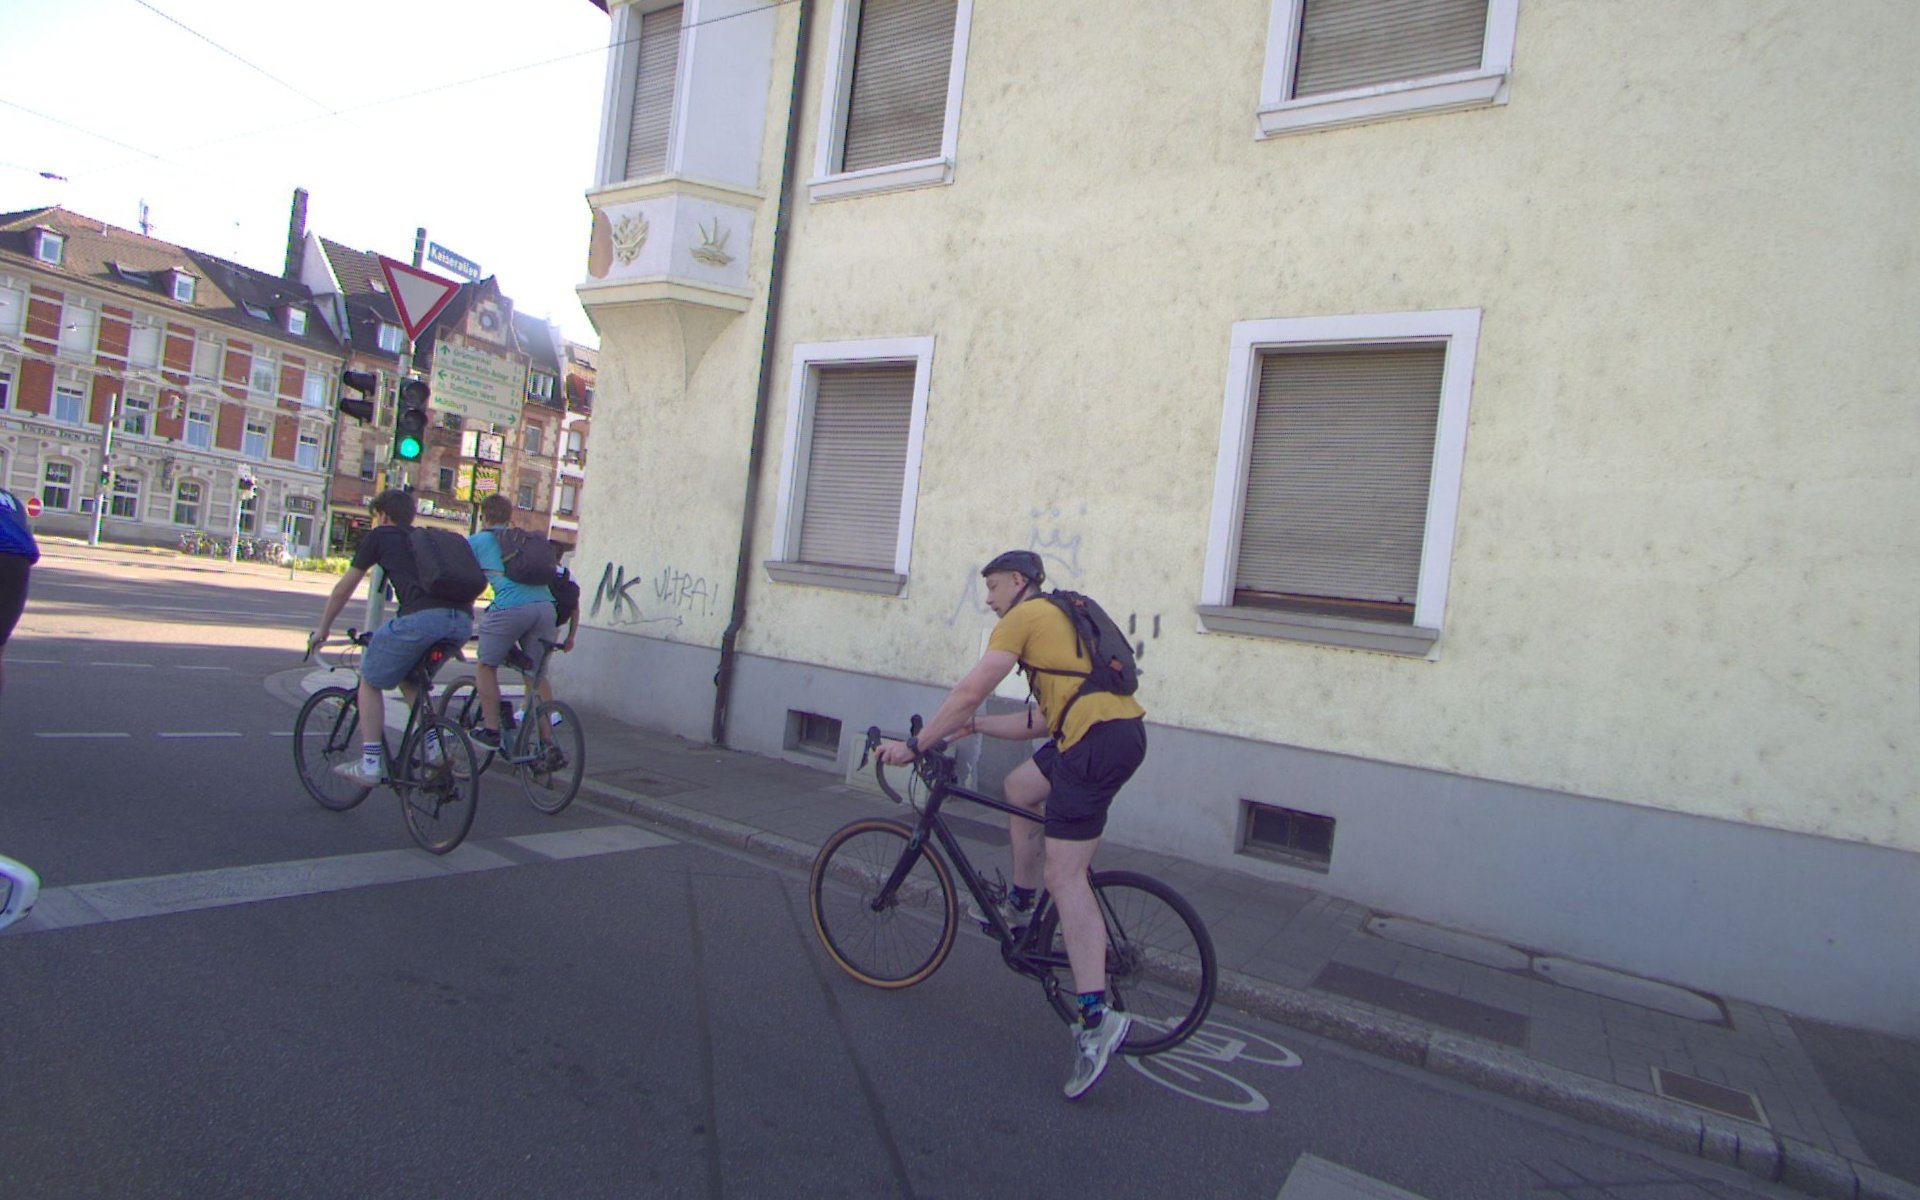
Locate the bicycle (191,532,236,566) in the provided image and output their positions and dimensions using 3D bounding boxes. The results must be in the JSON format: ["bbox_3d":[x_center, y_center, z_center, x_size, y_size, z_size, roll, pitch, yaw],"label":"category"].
[{"bbox_3d":[-34.193,-2.361,46.068,2.618,1.301,0.693,6,-1,33],"label":"bicycle"}]

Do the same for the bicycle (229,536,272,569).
[{"bbox_3d":[-33.408,-2.227,47.365,2.618,1.301,0.629,6,-1,33],"label":"bicycle"}]

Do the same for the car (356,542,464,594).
[{"bbox_3d":[-25.512,-1.471,46.810,1.967,1.798,3.790,6,-2,31],"label":"car"}]

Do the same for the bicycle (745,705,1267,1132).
[{"bbox_3d":[0.138,1.052,3.846,1.751,1.043,0.756,6,-2,33],"label":"bicycle"}]

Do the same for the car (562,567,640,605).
[{"bbox_3d":[-23.236,-0.875,65.288,1.967,1.798,4.374,6,-2,31],"label":"car"}]

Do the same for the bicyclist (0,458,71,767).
[{"bbox_3d":[-5.109,0.006,5.055,0.869,1.512,0.639,9,0,36],"label":"bicyclist"}]

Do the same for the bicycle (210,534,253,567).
[{"bbox_3d":[-33.827,-2.290,46.693,2.618,1.301,0.629,6,-1,33],"label":"bicycle"}]

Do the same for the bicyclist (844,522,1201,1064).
[{"bbox_3d":[0.257,0.630,3.762,0.869,1.682,0.807,6,-1,32],"label":"bicyclist"}]

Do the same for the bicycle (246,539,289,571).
[{"bbox_3d":[-33.042,-2.147,47.995,2.618,1.301,0.629,6,-1,33],"label":"bicycle"}]

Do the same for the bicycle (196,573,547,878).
[{"bbox_3d":[-3.116,0.594,5.301,1.674,1.251,0.756,6,-1,30],"label":"bicycle"}]

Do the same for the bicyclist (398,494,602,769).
[{"bbox_3d":[-3.025,0.198,6.627,0.869,1.652,0.690,6,-1,34],"label":"bicyclist"}]

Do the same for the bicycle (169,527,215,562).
[{"bbox_3d":[-34.619,-2.505,45.336,2.618,1.301,0.693,6,-1,33],"label":"bicycle"}]

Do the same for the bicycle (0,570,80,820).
[{"bbox_3d":[-5.155,0.390,5.048,1.676,1.097,0.627,6,-1,35],"label":"bicycle"}]

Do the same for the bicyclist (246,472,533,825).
[{"bbox_3d":[-2.959,0.236,5.252,0.868,1.625,0.807,7,-1,30],"label":"bicyclist"}]

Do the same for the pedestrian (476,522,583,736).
[{"bbox_3d":[-3.773,0.245,8.853,0.631,1.780,0.584,4,3,-7],"label":"pedestrian"}]

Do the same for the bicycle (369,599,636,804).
[{"bbox_3d":[-3.028,0.623,6.598,1.742,1.043,0.650,6,-1,33],"label":"bicycle"}]

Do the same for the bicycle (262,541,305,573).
[{"bbox_3d":[-32.672,-2.074,48.584,2.618,1.301,0.629,6,-1,33],"label":"bicycle"}]
